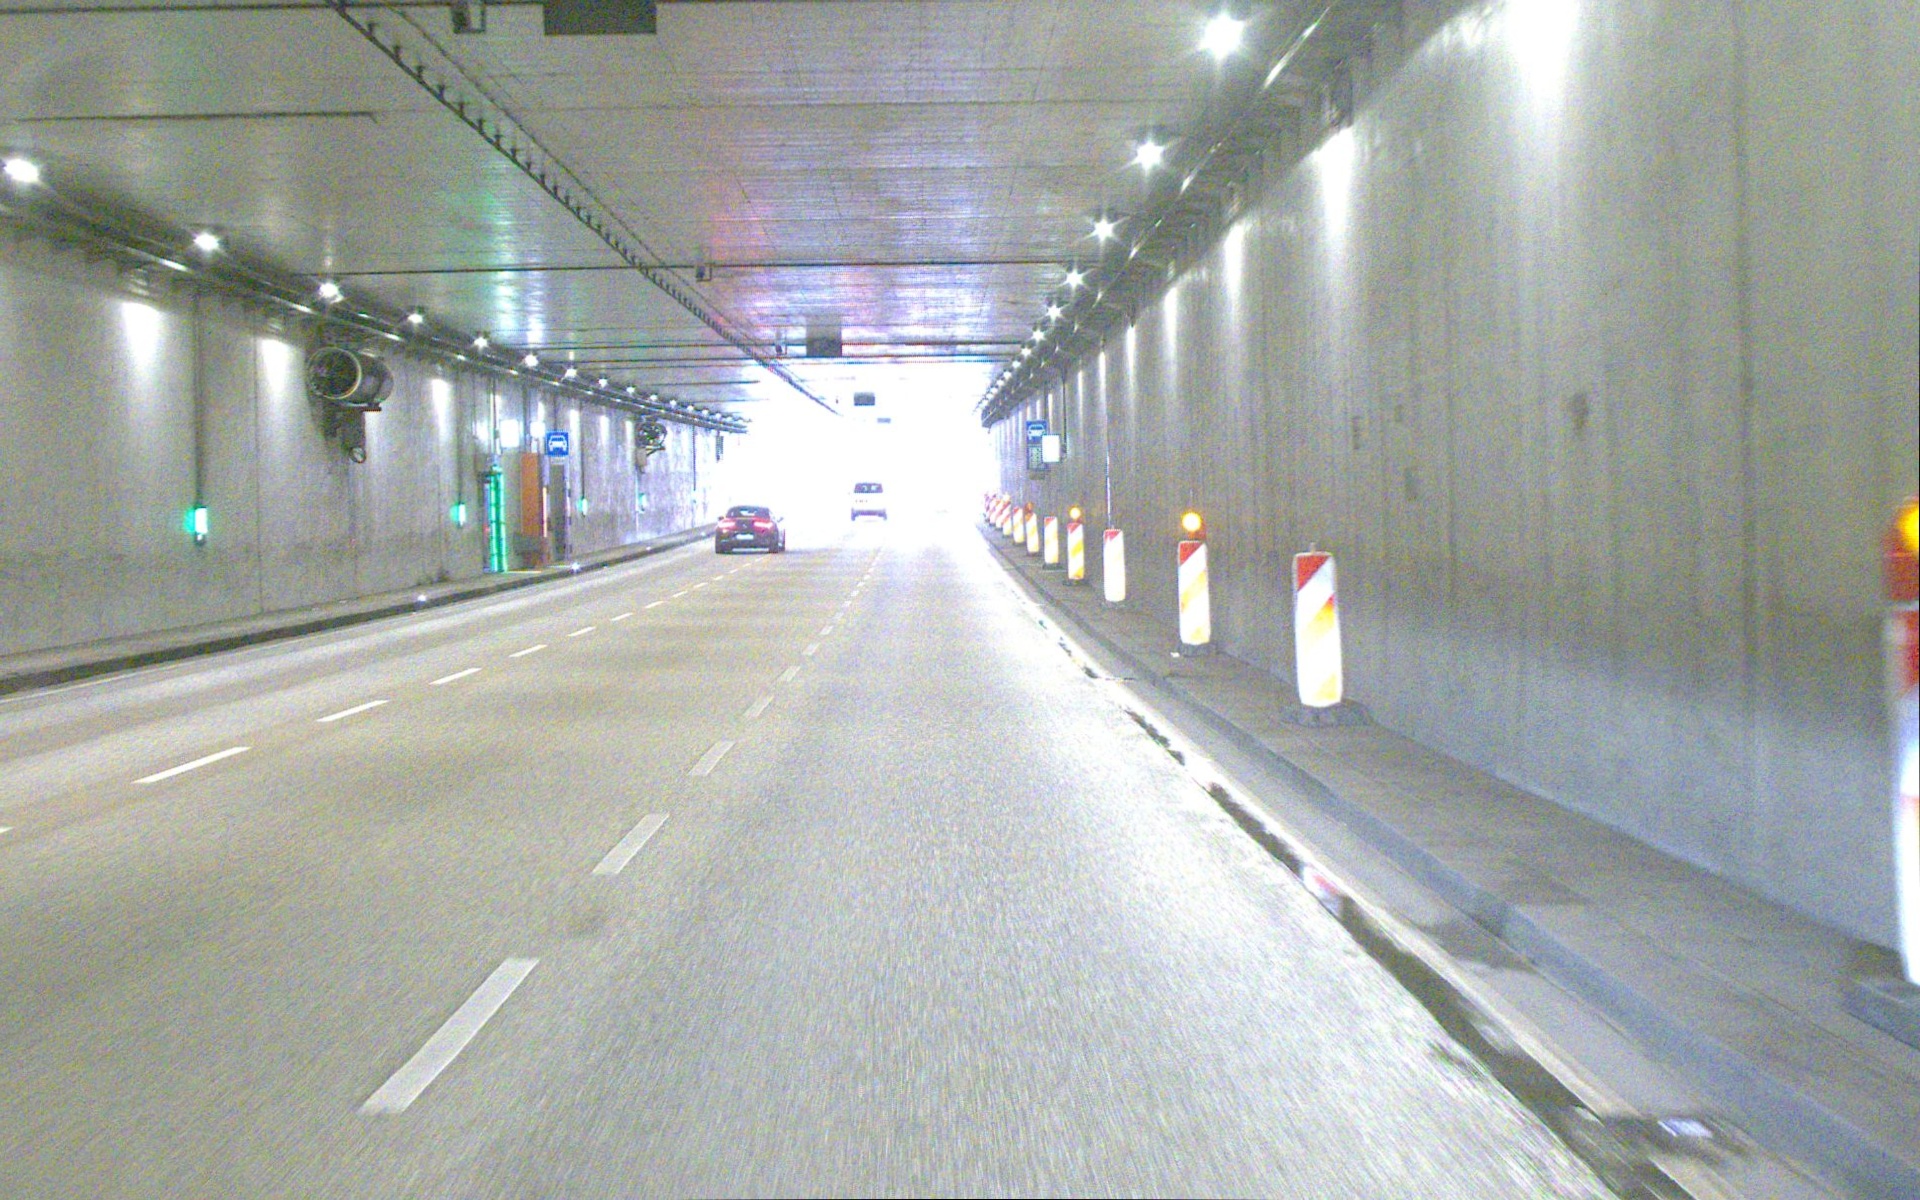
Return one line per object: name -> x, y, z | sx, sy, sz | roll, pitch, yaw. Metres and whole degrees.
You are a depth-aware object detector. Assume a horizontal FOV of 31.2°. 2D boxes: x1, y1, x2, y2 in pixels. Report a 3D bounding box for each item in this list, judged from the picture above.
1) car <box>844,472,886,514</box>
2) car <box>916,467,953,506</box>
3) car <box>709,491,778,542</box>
car -> -4.652, -5.265, 169.080 | 1.993, 2.007, 4.000 | 0, 1, 0
car -> -1.375, -6.092, 184.845 | 1.993, 2.007, 4.000 | 0, 1, 0
car -> -6.479, -2.500, 102.511 | 1.993, 1.443, 4.315 | 1, 2, -4
